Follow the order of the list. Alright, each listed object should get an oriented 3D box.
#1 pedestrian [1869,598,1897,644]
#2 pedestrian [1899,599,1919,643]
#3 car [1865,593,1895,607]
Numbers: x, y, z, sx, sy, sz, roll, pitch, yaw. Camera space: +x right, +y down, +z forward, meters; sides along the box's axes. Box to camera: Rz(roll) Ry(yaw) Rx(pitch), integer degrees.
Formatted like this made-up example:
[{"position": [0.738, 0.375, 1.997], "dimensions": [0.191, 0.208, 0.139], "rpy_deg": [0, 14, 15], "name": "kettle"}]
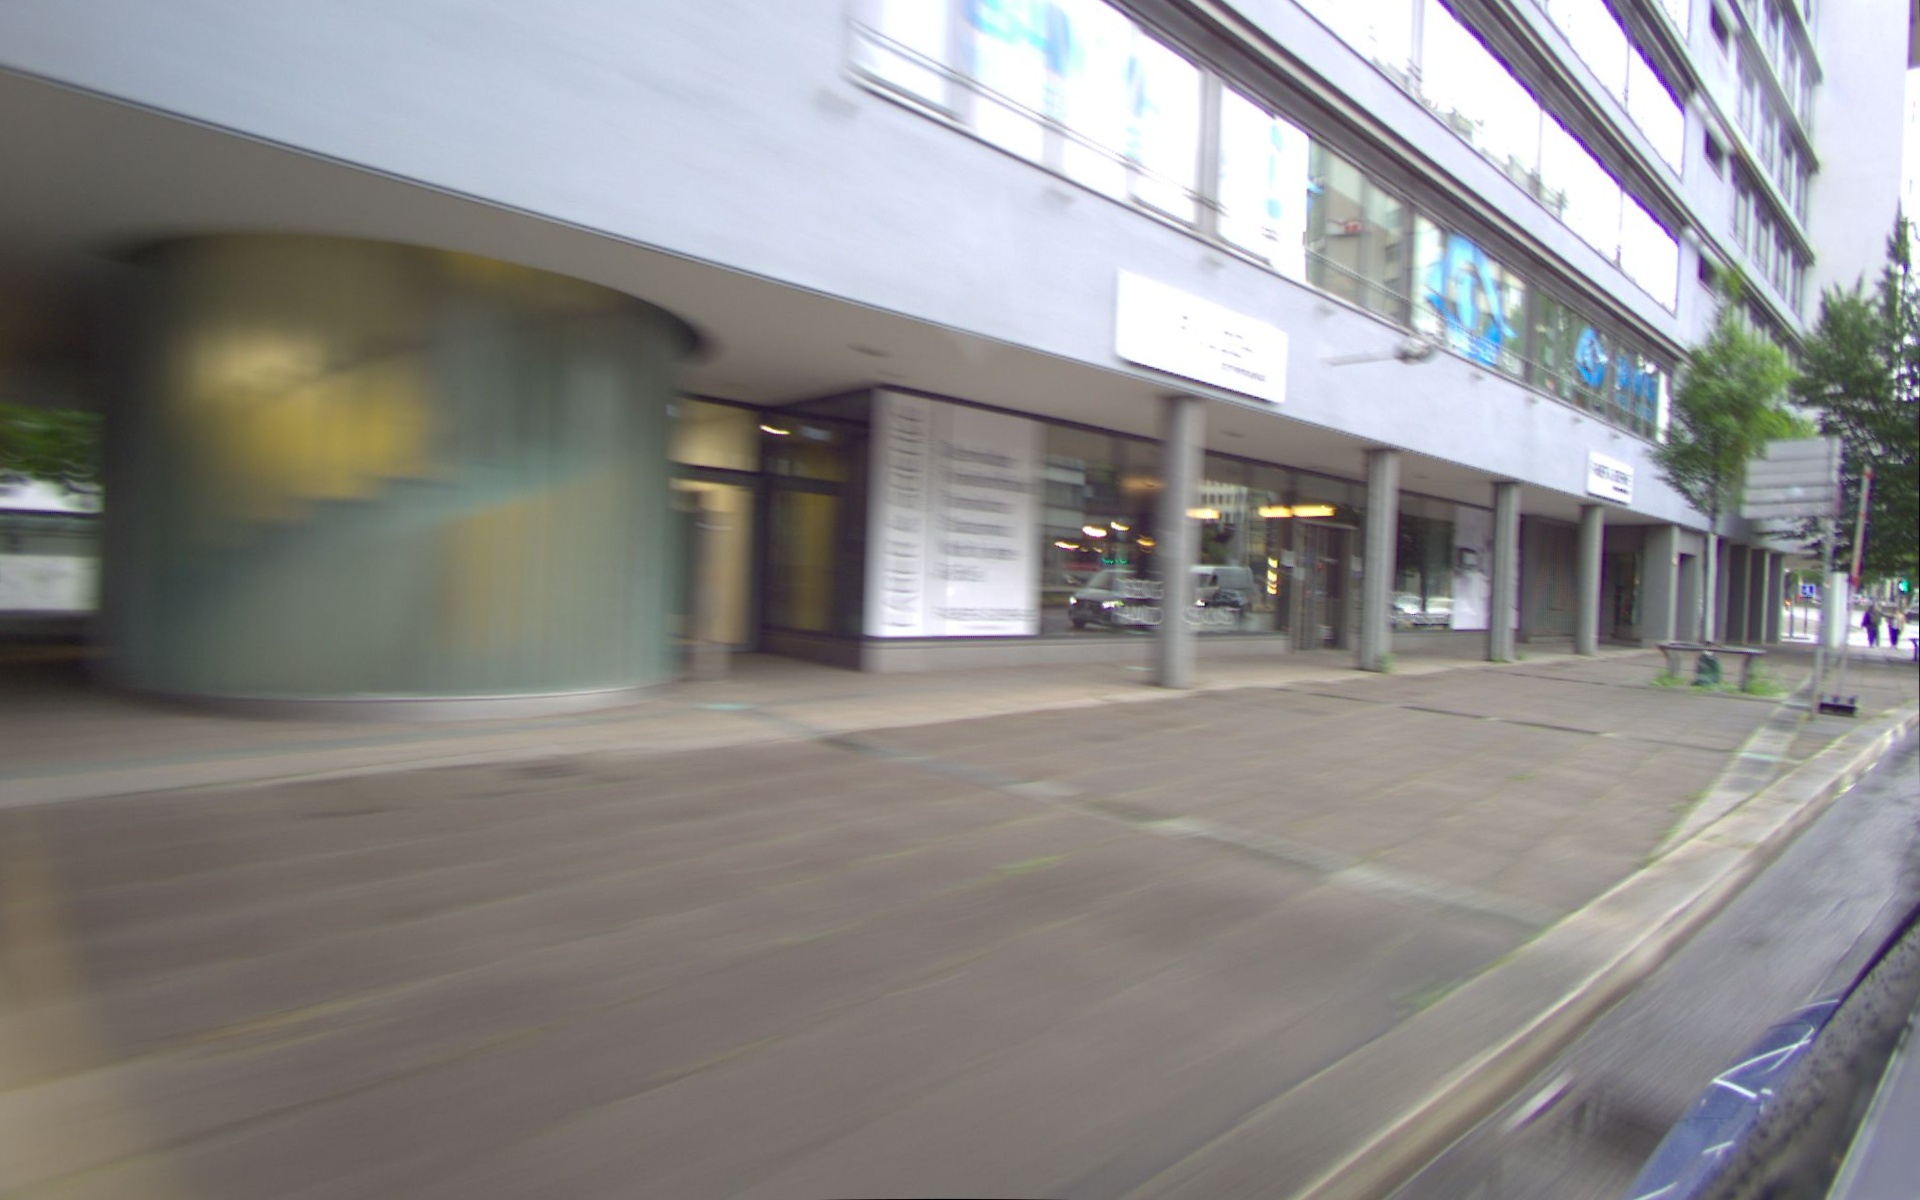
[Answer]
[{"position": [37.431, 0.844, 41.039], "dimensions": [0.880, 1.805, 0.792], "rpy_deg": [1, 0, -44], "name": "pedestrian"}, {"position": [39.491, 0.860, 42.040], "dimensions": [0.865, 1.805, 0.640], "rpy_deg": [1, 0, -41], "name": "pedestrian"}, {"position": [109.216, -0.037, 120.158], "dimensions": [1.728, 1.482, 3.960], "rpy_deg": [0, 2, 29], "name": "car"}]
